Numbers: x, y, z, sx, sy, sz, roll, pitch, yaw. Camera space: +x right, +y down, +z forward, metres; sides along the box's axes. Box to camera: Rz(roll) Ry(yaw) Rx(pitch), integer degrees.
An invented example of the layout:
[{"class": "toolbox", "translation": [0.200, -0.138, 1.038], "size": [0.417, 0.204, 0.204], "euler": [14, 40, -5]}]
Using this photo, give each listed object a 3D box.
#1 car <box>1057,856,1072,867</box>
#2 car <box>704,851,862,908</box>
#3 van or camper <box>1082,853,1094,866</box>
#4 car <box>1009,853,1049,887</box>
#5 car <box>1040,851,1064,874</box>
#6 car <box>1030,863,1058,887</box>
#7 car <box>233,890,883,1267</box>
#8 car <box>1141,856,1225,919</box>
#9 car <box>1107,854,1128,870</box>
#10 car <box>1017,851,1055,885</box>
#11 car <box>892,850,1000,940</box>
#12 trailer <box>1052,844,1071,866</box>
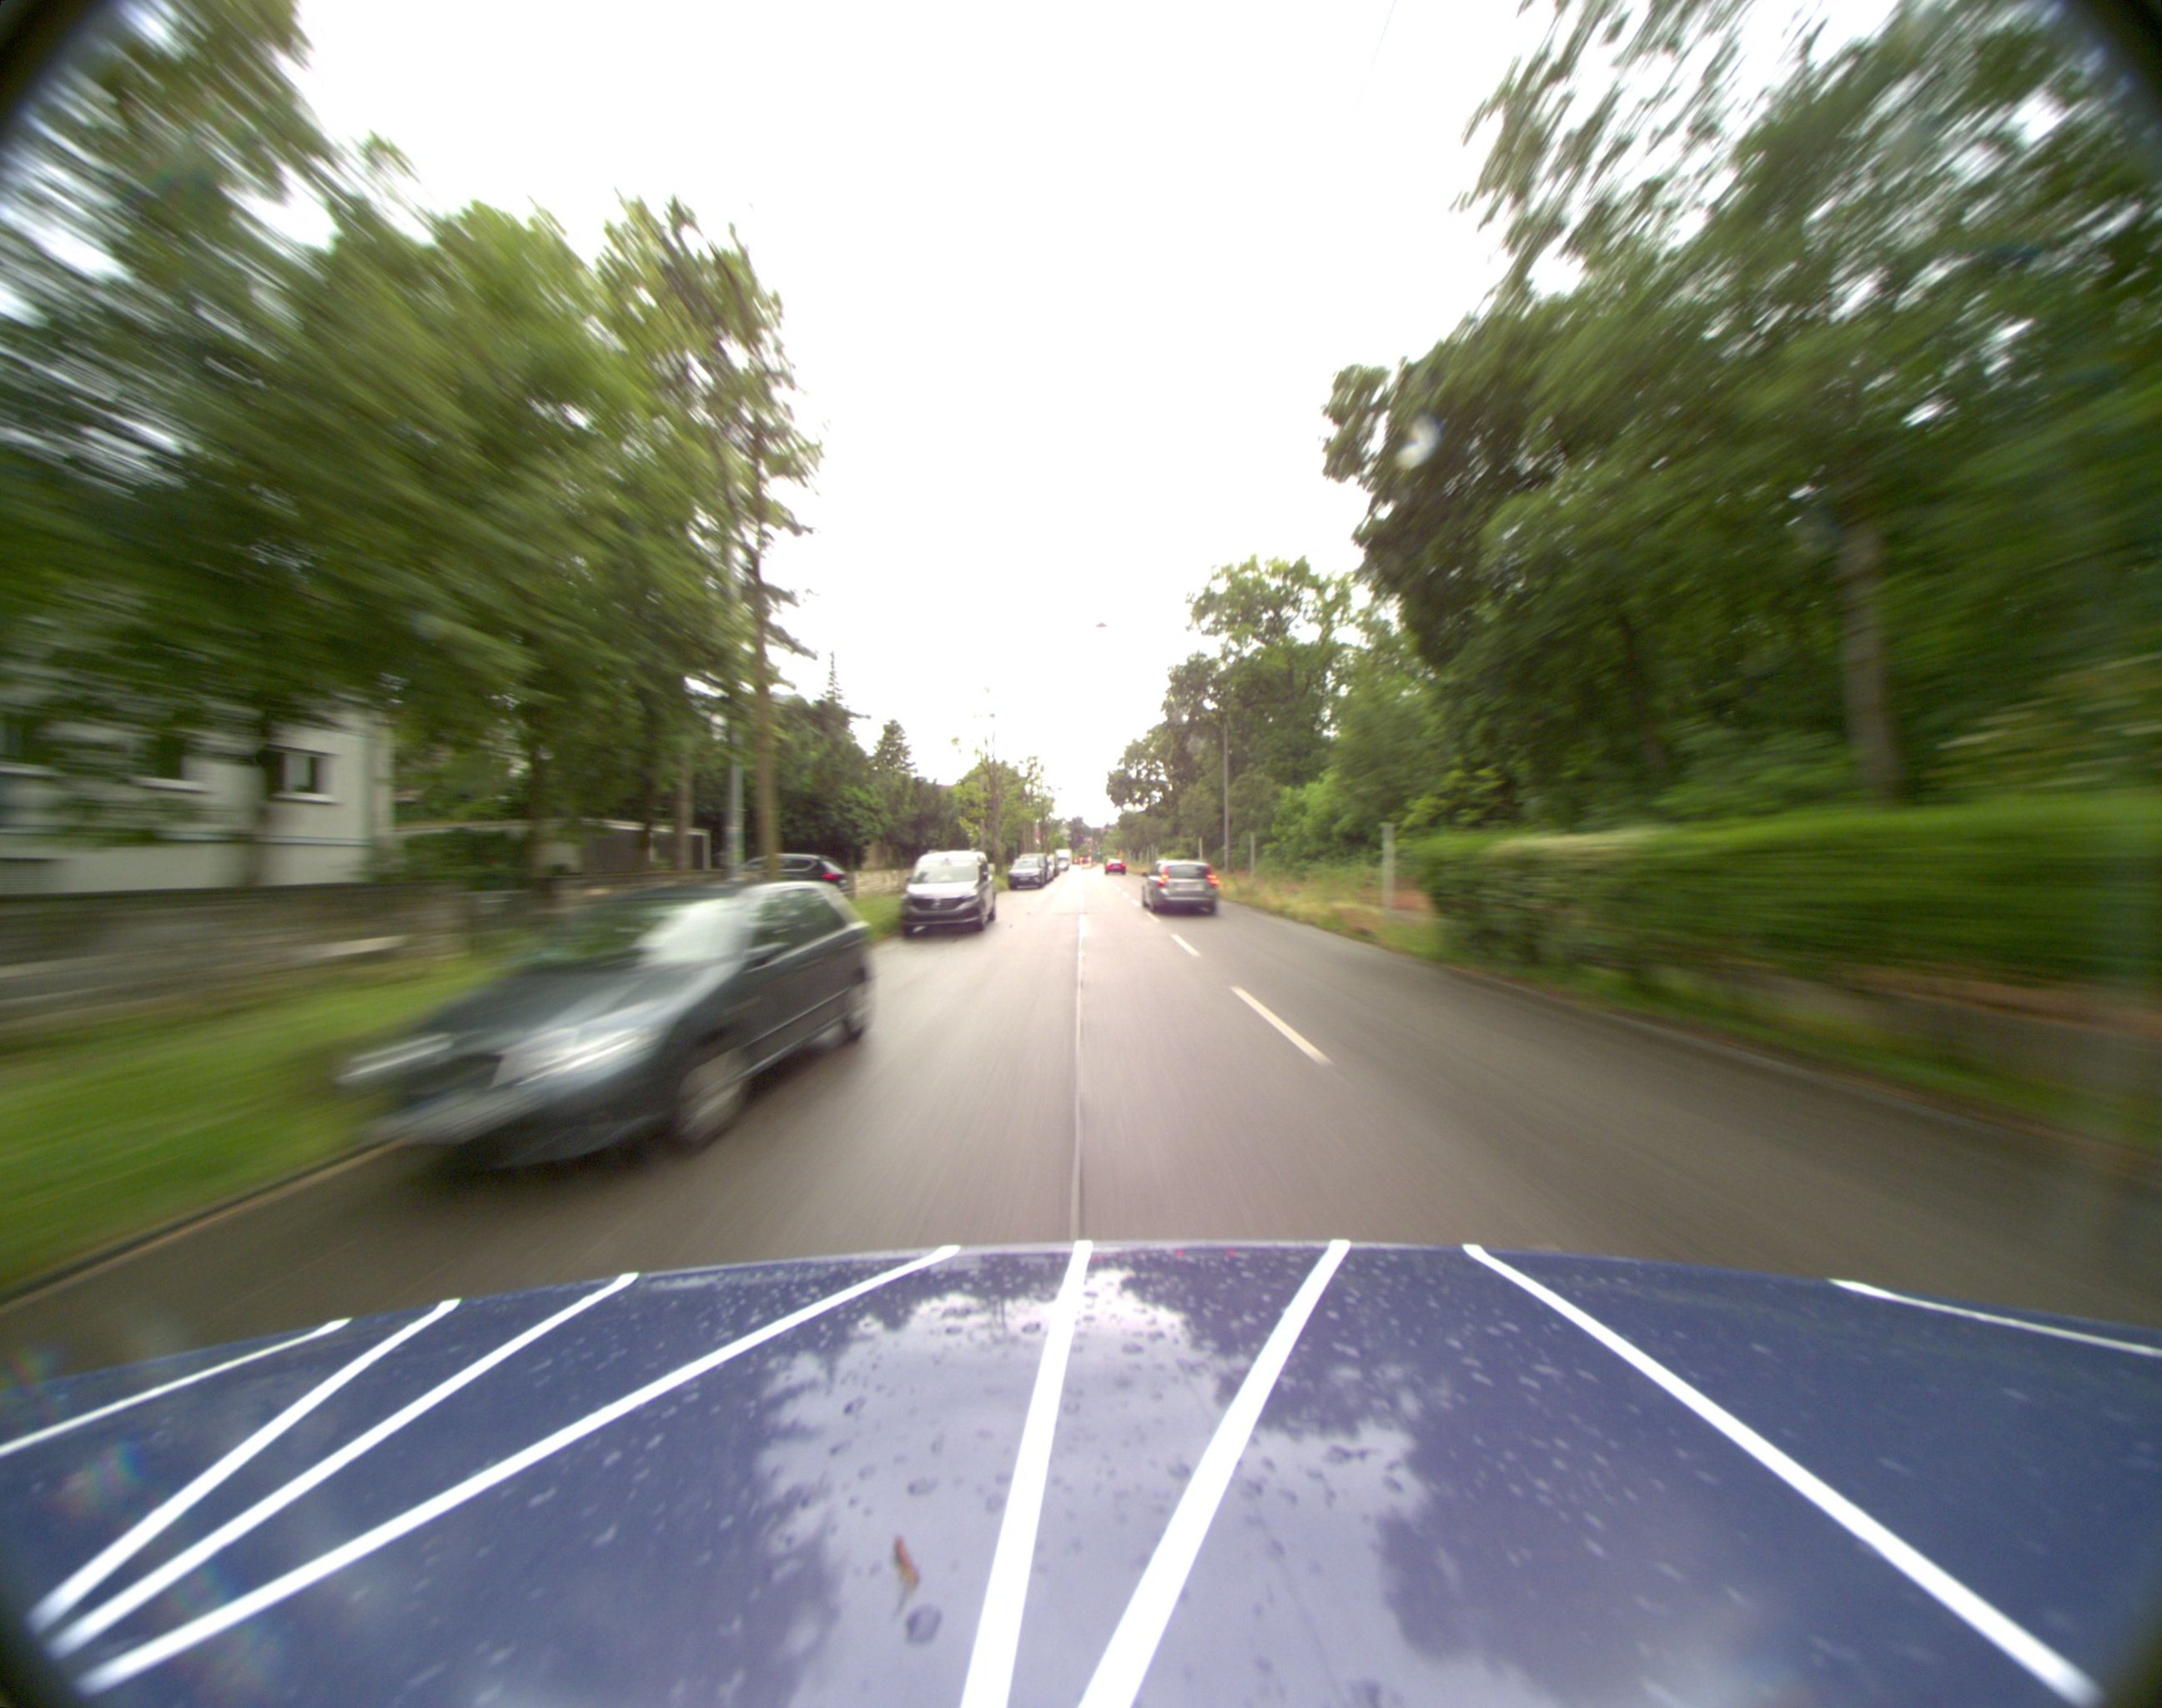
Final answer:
[{"class": "car", "translation": [-2.139, 0.943, 97.150], "size": [1.786, 1.387, 4.000], "euler": [-3, -1, -1]}, {"class": "car", "translation": [-9.586, 0.793, 24.684], "size": [4.319, 1.672, 2.000], "euler": [1, 1, 1]}, {"class": "van or camper", "translation": [1.935, 1.399, 201.895], "size": [2.863, 3.159, 6.852], "euler": [-3, 0, 2]}, {"class": "car", "translation": [-2.792, 0.880, 41.987], "size": [1.778, 1.712, 4.327], "euler": [-3, -1, 1]}, {"class": "car", "translation": [-2.442, 0.698, 65.018], "size": [1.734, 1.836, 4.230], "euler": [-3, 0, 0]}, {"class": "car", "translation": [-2.630, 1.501, 55.031], "size": [1.809, 1.603, 4.286], "euler": [-3, -1, 0]}, {"class": "car", "translation": [-2.810, 1.087, 5.234], "size": [1.629, 1.455, 3.809], "euler": [-3, -1, 3]}, {"class": "car", "translation": [2.720, 0.850, 21.128], "size": [1.788, 1.471, 3.966], "euler": [-1, 1, 0]}, {"class": "car", "translation": [3.389, 0.745, 71.203], "size": [1.865, 1.471, 4.156], "euler": [0, 0, 1]}, {"class": "car", "translation": [-2.849, 0.862, 48.913], "size": [1.998, 2.001, 4.888], "euler": [-3, 0, 1]}, {"class": "car", "translation": [-3.047, 0.888, 18.027], "size": [1.819, 1.802, 4.282], "euler": [-3, 0, -1]}, {"class": "trailer", "translation": [-3.263, 0.190, 127.441], "size": [2.741, 3.487, 8.247], "euler": [-3, 0, 0]}]
